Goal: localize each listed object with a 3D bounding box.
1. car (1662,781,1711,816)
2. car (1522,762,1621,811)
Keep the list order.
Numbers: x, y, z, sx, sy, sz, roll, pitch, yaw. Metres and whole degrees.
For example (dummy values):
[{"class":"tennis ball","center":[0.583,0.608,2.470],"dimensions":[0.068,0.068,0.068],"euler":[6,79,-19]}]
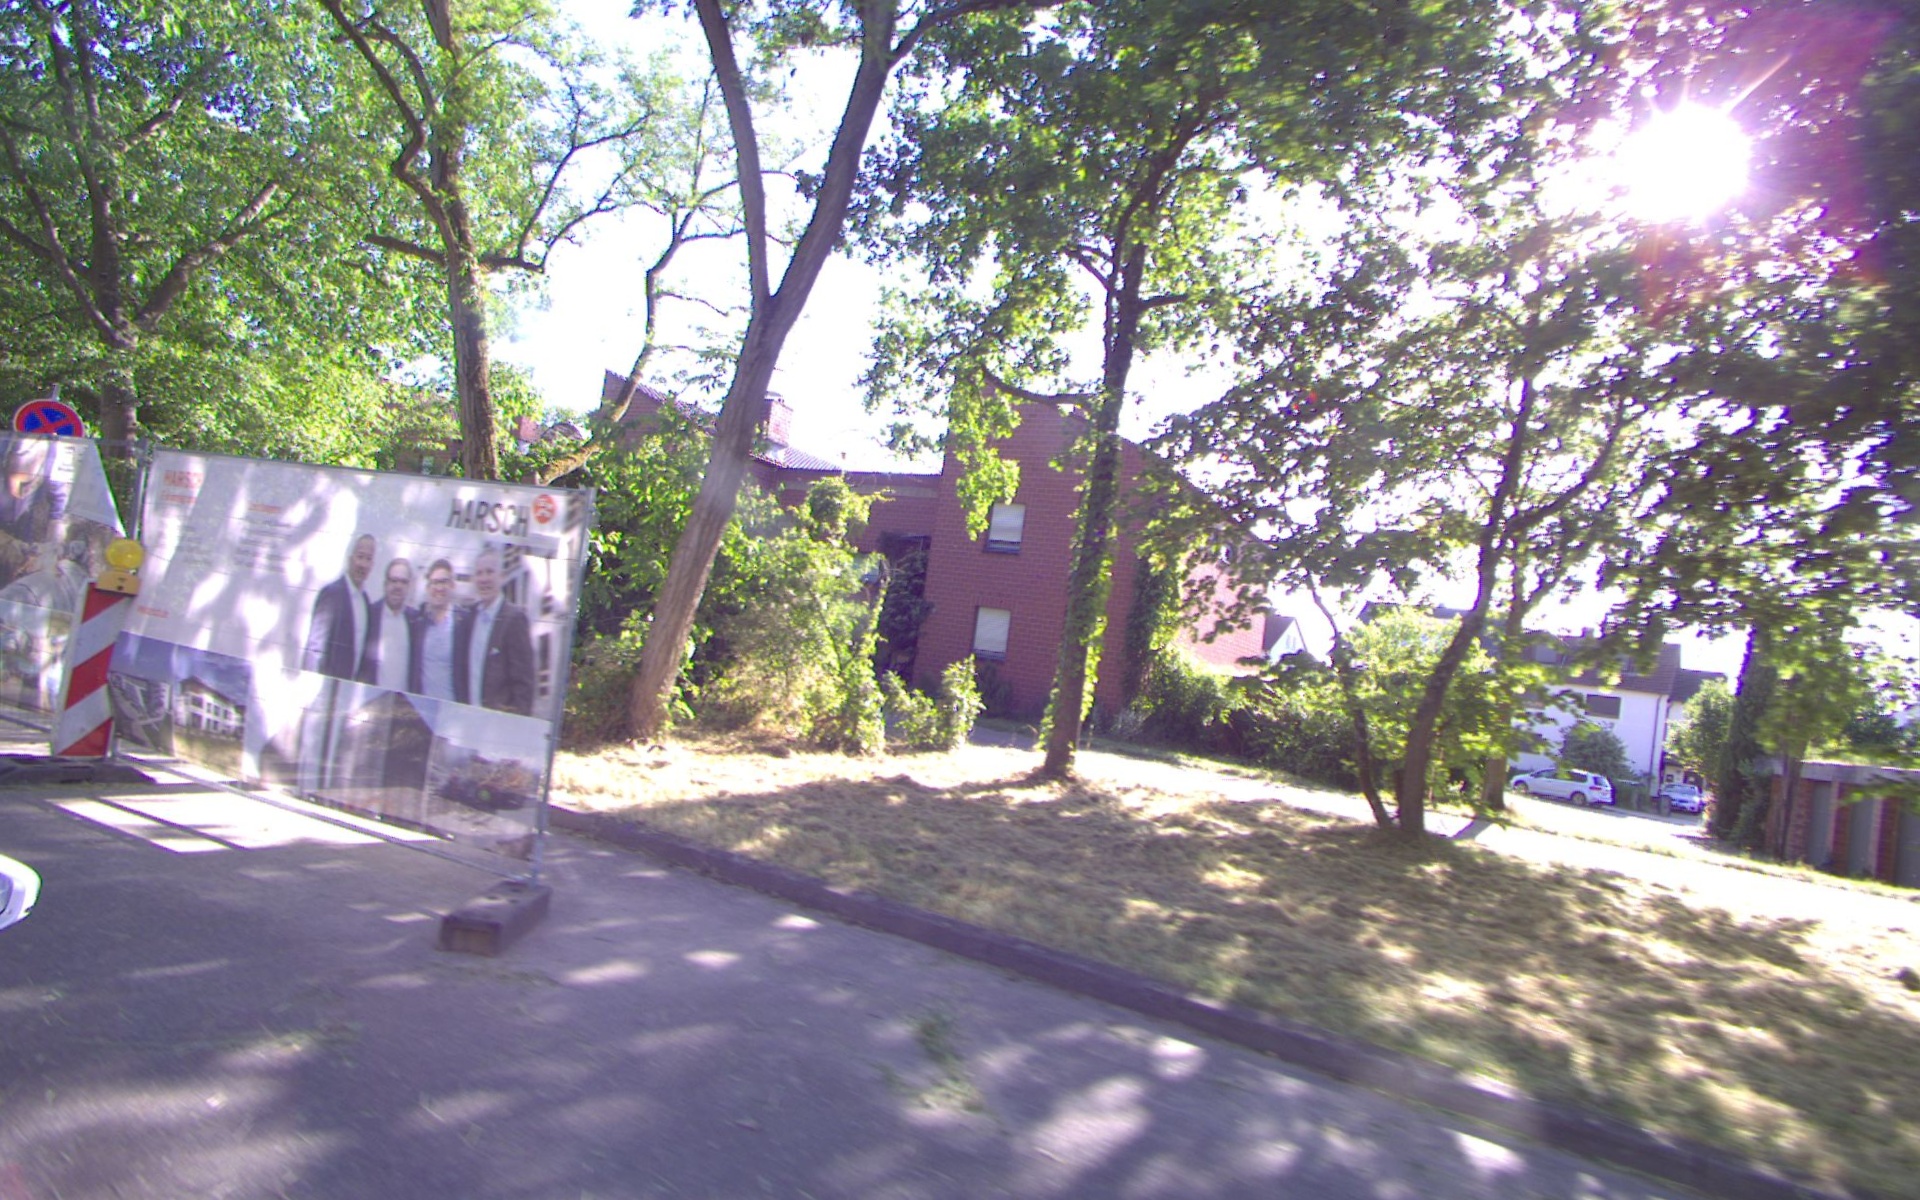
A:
[{"class":"car","center":[38.284,10.455,52.952],"dimensions":[1.432,1.514,3.624],"euler":[6,-5,45]},{"class":"car","center":[29.746,9.048,49.035],"dimensions":[1.790,1.633,3.619],"euler":[10,-4,-25]}]
